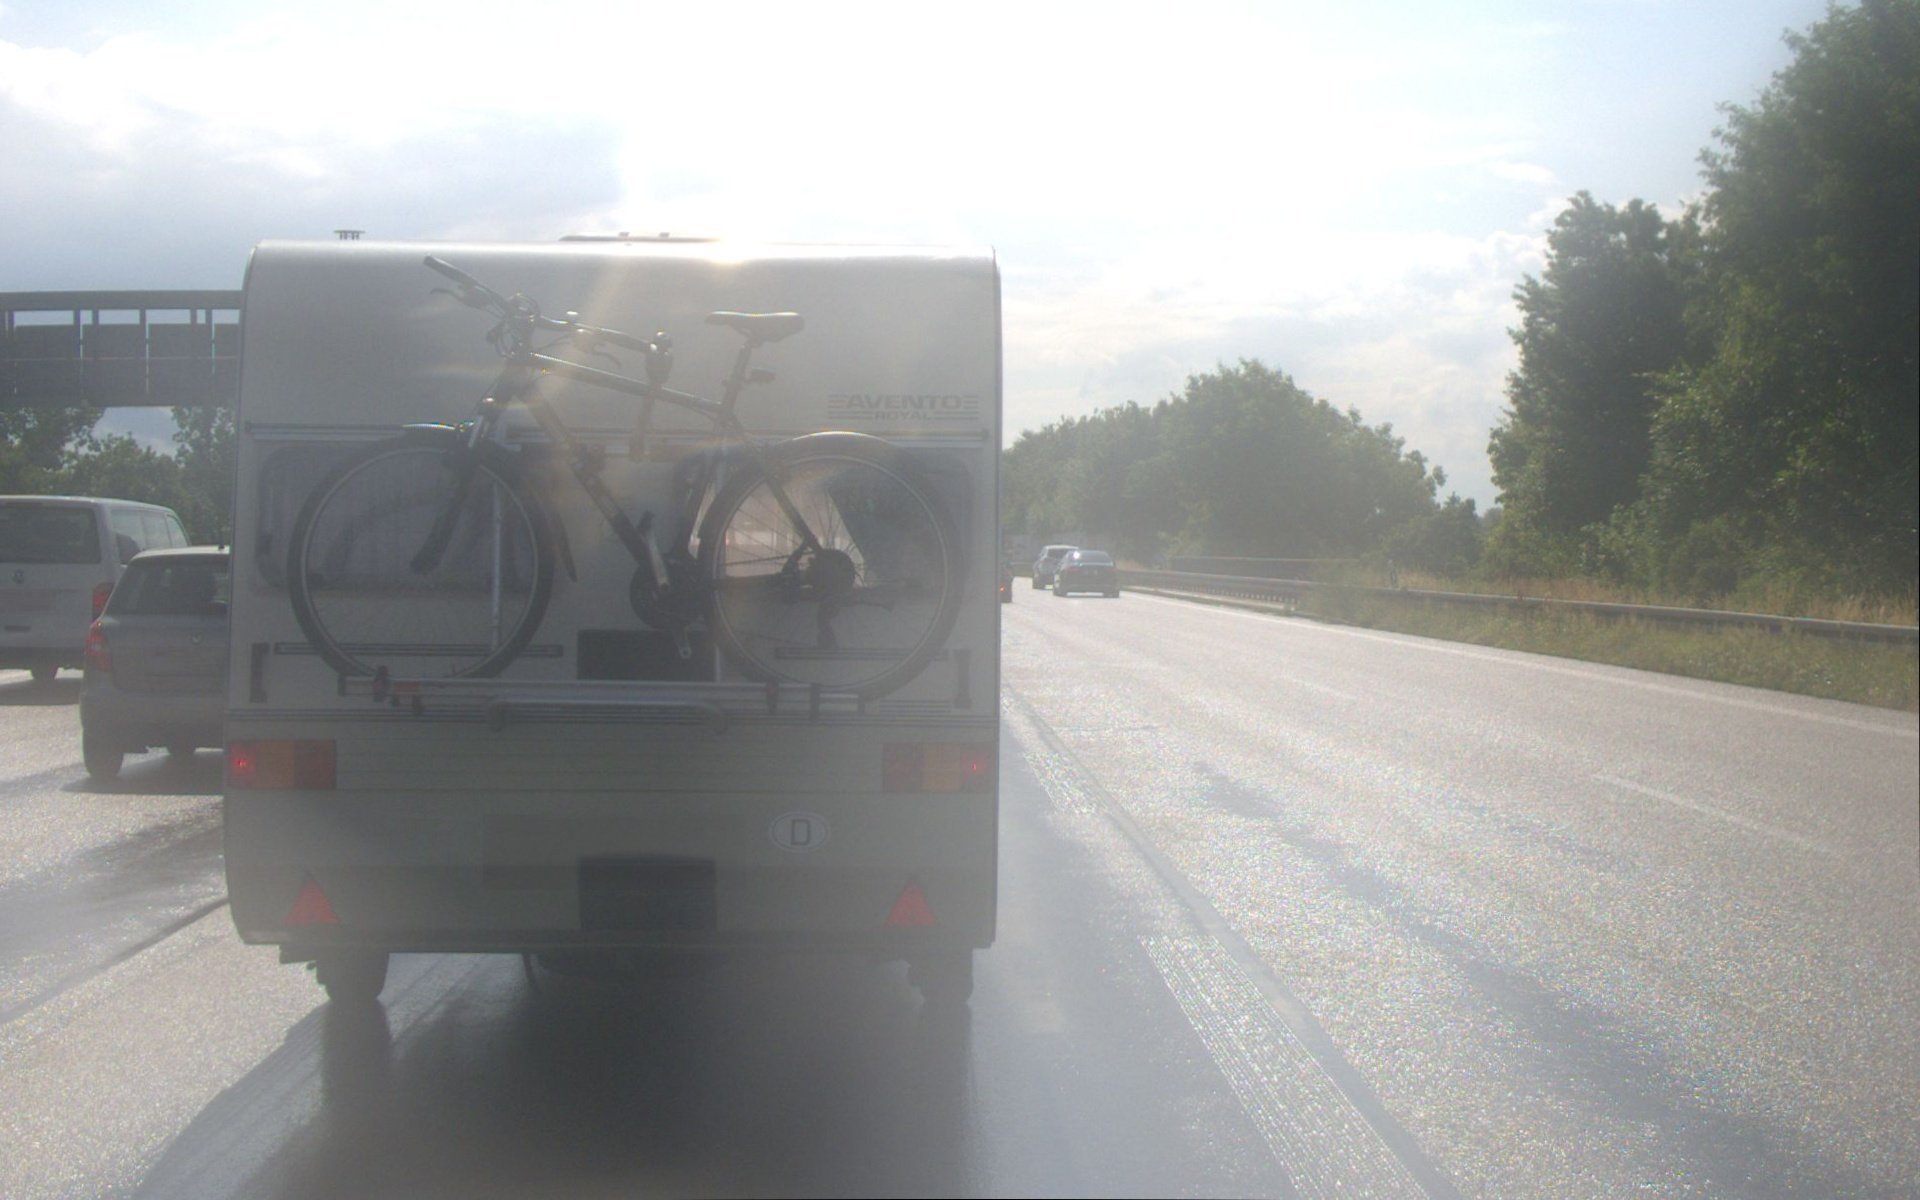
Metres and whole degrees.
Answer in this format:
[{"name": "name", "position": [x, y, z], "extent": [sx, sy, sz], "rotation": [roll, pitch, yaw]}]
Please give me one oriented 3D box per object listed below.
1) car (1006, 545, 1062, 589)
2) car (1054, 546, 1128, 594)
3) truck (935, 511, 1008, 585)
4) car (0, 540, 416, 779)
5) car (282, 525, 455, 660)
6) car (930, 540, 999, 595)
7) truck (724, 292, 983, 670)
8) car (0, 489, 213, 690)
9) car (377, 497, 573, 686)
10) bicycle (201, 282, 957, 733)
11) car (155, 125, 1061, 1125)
[{"name": "car", "position": [2.767, -1.252, 129.998], "extent": [1.876, 1.623, 4.000], "rotation": [1, 1, -2]}, {"name": "car", "position": [4.227, -0.981, 111.385], "extent": [1.876, 1.489, 4.001], "rotation": [1, 1, -5]}, {"name": "truck", "position": [0.372, -1.782, 116.881], "extent": [2.415, 2.435, 6.053], "rotation": [0, 1, 0]}, {"name": "car", "position": [-4.932, 0.335, 23.039], "extent": [1.987, 1.453, 3.827], "rotation": [0, 1, 0]}, {"name": "car", "position": [-7.637, -0.118, 44.697], "extent": [1.771, 1.656, 4.001], "rotation": [1, 1, -4]}, {"name": "car", "position": [0.119, -0.954, 99.655], "extent": [1.835, 1.552, 4.000], "rotation": [1, 1, -2]}, {"name": "truck", "position": [-1.497, -1.542, 47.487], "extent": [3.146, 4.610, 10.737], "rotation": [0, 1, -2]}, {"name": "car", "position": [-9.116, -0.148, 35.473], "extent": [1.848, 1.927, 5.017], "rotation": [0, 1, -2]}, {"name": "car", "position": [-5.443, -0.117, 38.977], "extent": [1.876, 2.007, 4.001], "rotation": [1, 1, -4]}, {"name": "bicycle", "position": [-0.983, -0.241, 9.053], "extent": [1.934, 1.137, 0.384], "rotation": [1, 1, 1]}, {"name": "car", "position": [-0.960, 0.046, 11.257], "extent": [2.410, 2.665, 4.000], "rotation": [1, 1, 0]}]
